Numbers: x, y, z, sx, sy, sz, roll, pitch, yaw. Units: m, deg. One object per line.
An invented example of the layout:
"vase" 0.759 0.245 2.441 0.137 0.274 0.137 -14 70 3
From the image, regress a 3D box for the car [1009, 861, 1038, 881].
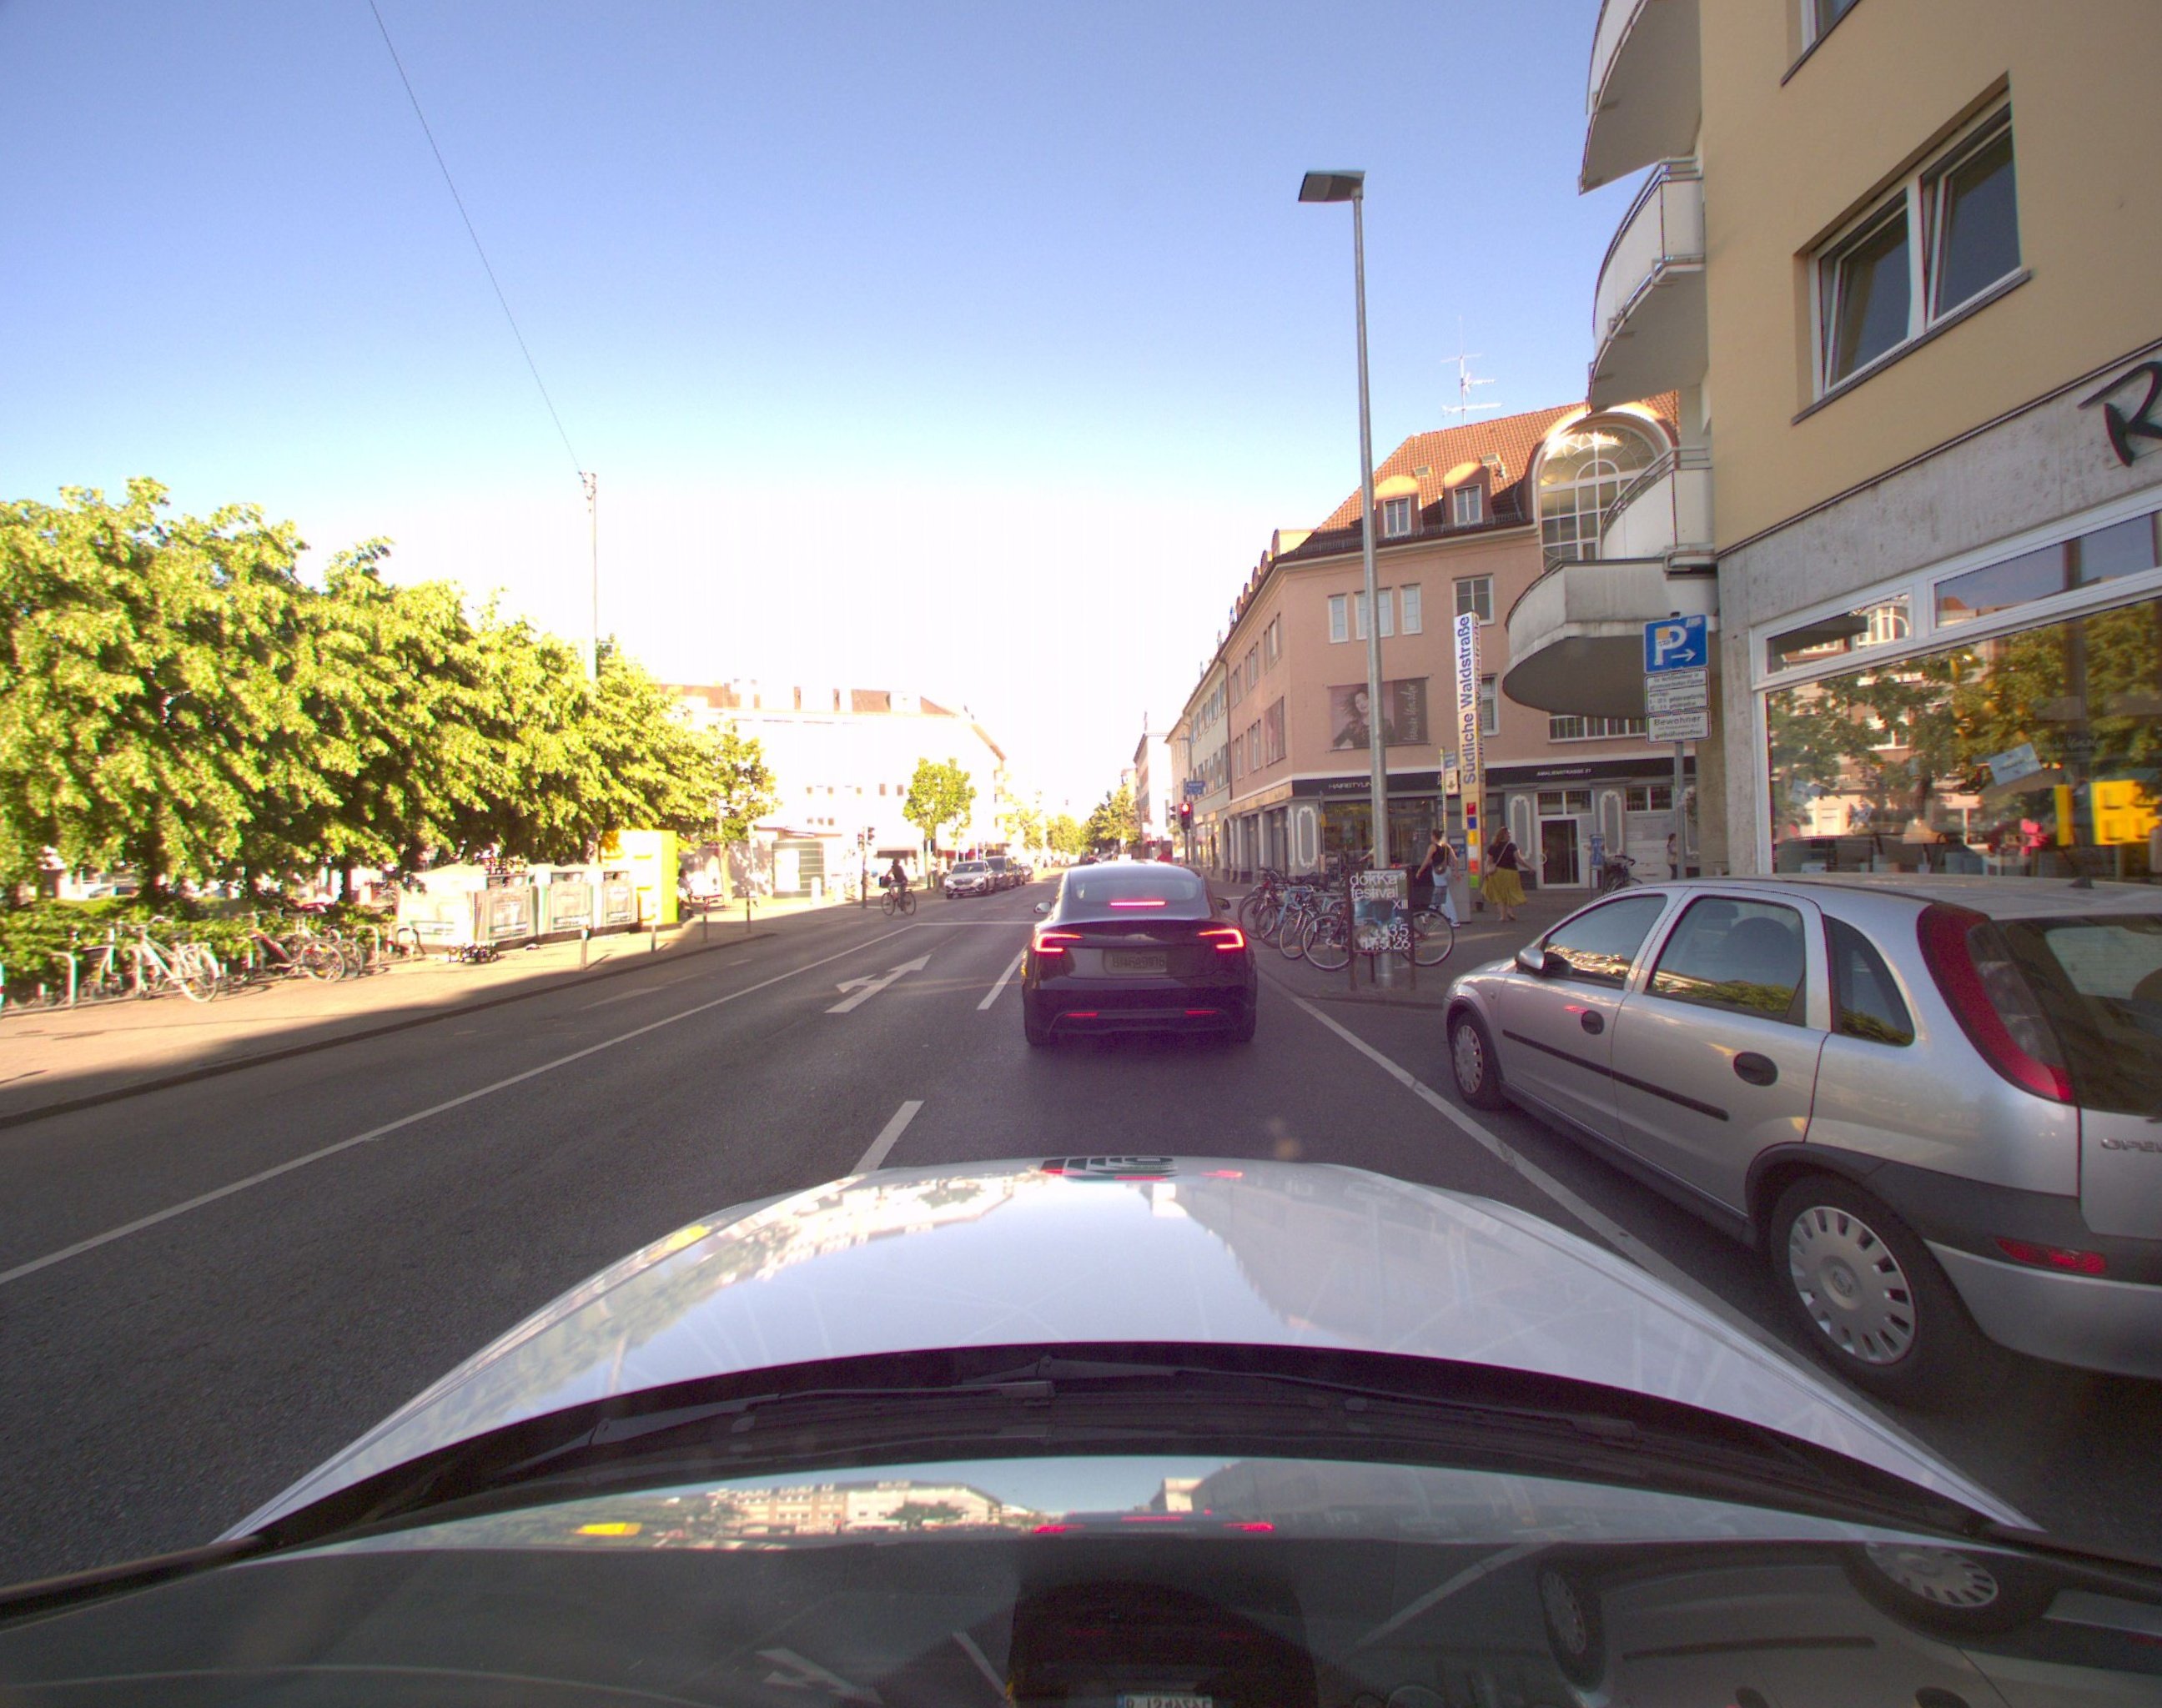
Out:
"car" -4.169 1.234 59.467 1.686 1.390 3.919 0 0 3

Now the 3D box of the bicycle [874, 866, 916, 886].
"bicycle" -11.998 1.395 52.585 2.535 1.251 0.942 0 -1 -1

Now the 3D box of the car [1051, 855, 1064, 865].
"car" -4.850 1.307 166.816 2.405 1.970 4.679 -1 0 2

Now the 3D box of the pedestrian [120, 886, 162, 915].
"pedestrian" -40.895 1.998 35.442 0.926 1.214 0.873 -1 -1 17

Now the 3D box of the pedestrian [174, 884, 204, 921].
"pedestrian" -37.598 2.035 34.340 0.827 1.520 0.782 -1 -1 38

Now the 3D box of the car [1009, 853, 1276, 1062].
"car" 0.496 0.738 7.890 1.843 1.447 4.453 0 0 2

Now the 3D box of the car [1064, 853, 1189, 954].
"car" 0.742 0.748 14.314 1.843 1.482 4.453 0 0 2

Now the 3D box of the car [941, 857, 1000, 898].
"car" -4.883 1.012 36.606 1.818 1.565 4.302 -5 -1 2

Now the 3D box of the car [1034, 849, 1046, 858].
"car" -9.011 -0.030 180.146 2.266 2.014 4.720 0 -1 3

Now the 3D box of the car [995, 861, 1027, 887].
"car" -4.255 1.200 50.054 1.455 1.430 3.607 -5 -1 2

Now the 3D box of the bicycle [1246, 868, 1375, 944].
"bicycle" 3.518 0.790 12.574 1.806 1.102 0.653 -1 0 3

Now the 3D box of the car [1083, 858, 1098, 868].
"car" 1.808 1.668 156.846 2.035 1.788 3.993 -1 0 -10

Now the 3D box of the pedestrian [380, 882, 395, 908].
"pedestrian" -42.766 2.524 50.253 0.629 1.524 0.573 0 -1 -34

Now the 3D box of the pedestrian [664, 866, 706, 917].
"pedestrian" -12.151 1.145 24.988 0.916 1.543 0.697 -1 -1 9

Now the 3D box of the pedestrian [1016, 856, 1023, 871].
"pedestrian" -7.346 1.126 97.263 0.734 1.868 0.787 0 -1 -15

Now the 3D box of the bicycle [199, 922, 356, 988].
"bicycle" -11.426 1.421 11.611 1.667 0.859 0.469 0 -1 -5

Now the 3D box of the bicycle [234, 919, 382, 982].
"bicycle" -11.466 1.423 12.110 1.663 0.859 0.469 0 -1 -5

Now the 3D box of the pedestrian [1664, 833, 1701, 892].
"pedestrian" 16.388 0.229 22.190 0.714 1.549 0.797 -1 -1 31

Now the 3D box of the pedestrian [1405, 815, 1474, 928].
"pedestrian" 6.209 0.297 14.148 0.678 1.849 0.894 -5 -1 3

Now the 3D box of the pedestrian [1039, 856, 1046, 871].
"pedestrian" -4.777 1.132 100.318 0.695 1.868 0.906 0 -1 -12

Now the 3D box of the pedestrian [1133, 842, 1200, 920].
"pedestrian" 1.973 0.597 18.761 1.099 1.719 1.068 -1 -1 41

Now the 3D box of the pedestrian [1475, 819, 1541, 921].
"pedestrian" 7.713 0.293 14.742 0.717 1.754 0.789 -4 -1 7

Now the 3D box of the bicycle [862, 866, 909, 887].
"bicycle" -12.053 1.381 50.309 2.655 1.259 0.942 0 -1 -1

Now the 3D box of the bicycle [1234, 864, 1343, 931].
"bicycle" 3.737 0.782 14.779 1.806 1.152 0.653 -1 0 3

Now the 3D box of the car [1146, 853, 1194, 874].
"car" 8.149 0.867 74.657 4.006 1.867 1.686 -1 0 -20

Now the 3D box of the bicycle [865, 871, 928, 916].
"bicycle" -5.553 1.201 24.462 1.974 1.223 0.634 -6 -4 36

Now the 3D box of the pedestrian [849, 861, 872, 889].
"pedestrian" -12.747 1.202 47.029 1.091 1.611 1.263 0 -1 -7

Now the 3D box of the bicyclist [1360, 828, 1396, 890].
"bicyclist" 8.028 0.122 22.062 0.819 1.614 0.582 -3 0 18

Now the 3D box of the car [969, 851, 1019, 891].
"car" -4.495 0.831 42.928 1.938 1.947 4.822 -1 0 2

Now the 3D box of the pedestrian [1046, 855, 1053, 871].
"pedestrian" -3.808 1.105 97.831 0.774 1.868 1.006 0 -1 -8

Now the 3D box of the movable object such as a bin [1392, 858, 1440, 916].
"movable object such as a bin" 6.745 0.658 16.434 0.633 1.103 0.728 -4 -1 5

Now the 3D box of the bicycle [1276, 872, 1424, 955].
"bicycle" 3.656 0.797 11.163 1.806 1.060 0.653 -1 0 3

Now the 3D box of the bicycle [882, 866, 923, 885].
"bicycle" -12.051 1.415 55.012 2.535 1.251 0.942 0 -1 -1

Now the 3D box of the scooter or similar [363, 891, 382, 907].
"scooter or similar" -43.371 2.772 49.864 0.793 0.957 0.459 0 -1 -34

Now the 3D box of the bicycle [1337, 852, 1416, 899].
"bicycle" 7.993 0.576 22.079 1.938 1.158 0.578 -4 -1 18

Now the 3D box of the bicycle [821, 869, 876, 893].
"bicycle" -12.324 1.433 43.252 2.652 1.195 0.942 0 -1 -1

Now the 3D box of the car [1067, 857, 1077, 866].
"car" -1.988 1.760 187.437 2.124 1.970 4.135 -1 0 2

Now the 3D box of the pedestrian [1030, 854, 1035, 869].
"pedestrian" -6.211 0.968 104.232 0.693 1.868 0.658 0 -1 -3

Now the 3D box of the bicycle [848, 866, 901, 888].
"bicycle" -12.153 1.358 47.992 2.867 1.270 0.942 0 -1 -1

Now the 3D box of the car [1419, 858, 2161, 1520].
"car" 2.960 0.738 3.554 1.578 1.426 3.581 0 -1 2

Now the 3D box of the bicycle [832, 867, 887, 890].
"bicycle" -12.392 1.366 45.596 2.772 1.274 0.933 0 -1 -2

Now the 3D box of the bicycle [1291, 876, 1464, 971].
"bicycle" 3.636 0.844 10.090 1.875 1.044 0.653 -2 0 3

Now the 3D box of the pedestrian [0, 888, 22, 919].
"pedestrian" -66.541 3.037 50.113 1.305 1.842 1.091 0 -1 -31

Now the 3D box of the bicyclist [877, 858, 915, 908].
"bicyclist" -5.562 0.856 24.477 0.945 1.484 0.612 -1 -1 36

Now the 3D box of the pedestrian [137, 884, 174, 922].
"pedestrian" -38.650 2.019 34.012 0.928 1.520 0.924 0 -1 -43

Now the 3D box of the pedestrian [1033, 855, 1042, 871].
"pedestrian" -5.093 1.091 94.875 0.726 1.868 0.796 -1 -1 30

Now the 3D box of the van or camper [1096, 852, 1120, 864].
"van or camper" 5.642 0.837 167.667 4.832 2.438 1.851 -1 0 1

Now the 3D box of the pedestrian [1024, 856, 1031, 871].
"pedestrian" -6.443 1.121 97.425 0.734 1.868 0.787 0 -1 -15

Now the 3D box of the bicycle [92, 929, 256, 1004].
"bicycle" -11.462 1.415 10.314 1.560 0.885 0.470 0 -1 1

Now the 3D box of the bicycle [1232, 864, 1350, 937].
"bicycle" 3.496 0.774 13.649 1.806 1.152 0.653 -1 0 3

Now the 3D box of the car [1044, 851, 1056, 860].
"car" -7.155 0.272 188.741 2.266 2.014 4.720 0 -1 3

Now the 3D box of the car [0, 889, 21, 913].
"car" -74.172 3.214 54.394 4.118 1.530 1.547 -1 0 -9
